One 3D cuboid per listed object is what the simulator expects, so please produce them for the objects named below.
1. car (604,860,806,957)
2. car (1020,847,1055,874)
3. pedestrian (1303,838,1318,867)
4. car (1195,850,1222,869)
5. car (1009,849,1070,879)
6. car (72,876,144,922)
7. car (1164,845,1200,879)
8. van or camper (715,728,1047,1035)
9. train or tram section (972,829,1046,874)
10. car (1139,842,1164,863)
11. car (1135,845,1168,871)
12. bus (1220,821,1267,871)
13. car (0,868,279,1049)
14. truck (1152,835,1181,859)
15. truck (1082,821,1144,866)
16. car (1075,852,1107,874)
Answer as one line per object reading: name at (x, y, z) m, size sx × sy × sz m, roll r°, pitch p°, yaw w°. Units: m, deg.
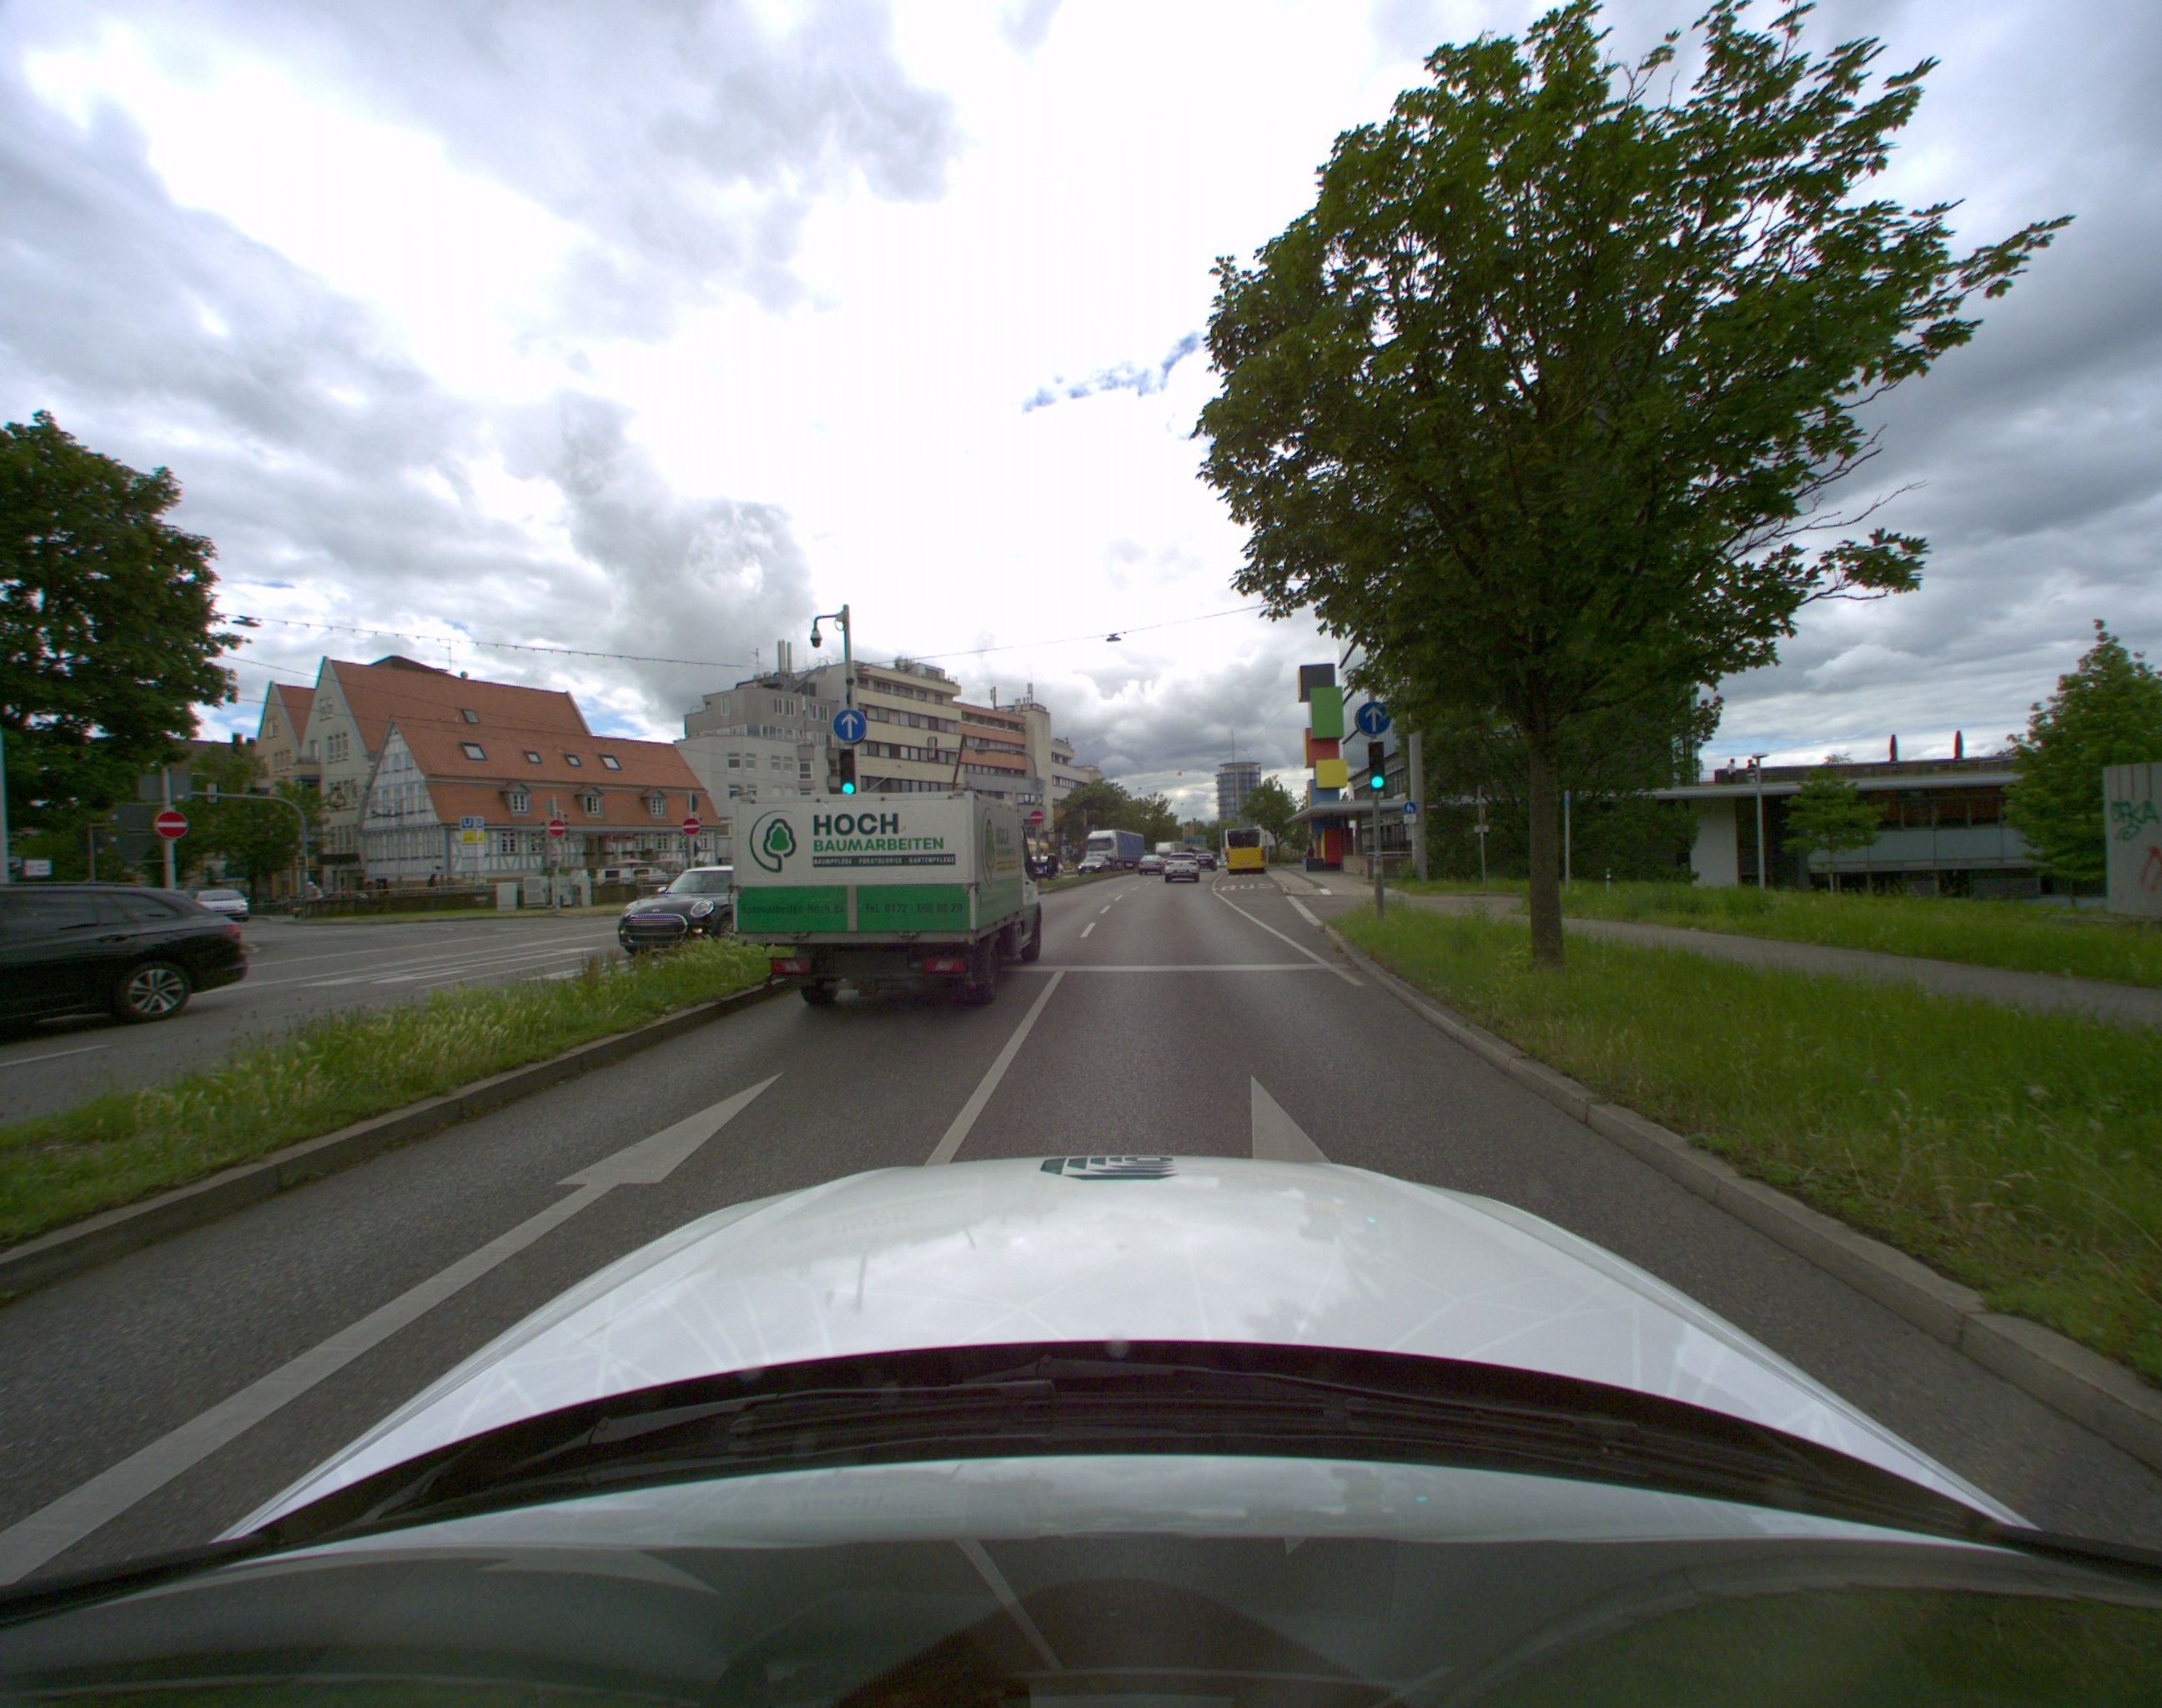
car at (-6.440, 0.866, 14.420) m, size 1.606 × 1.446 × 3.657 m, roll -2°, pitch 0°, yaw 4°
car at (-3.030, 0.425, 57.354) m, size 1.555 × 1.753 × 3.852 m, roll -2°, pitch 0°, yaw 10°
pedestrian at (14.436, -0.088, 51.138) m, size 0.706 × 1.816 × 0.764 m, roll -2°, pitch 0°, yaw 2°
car at (11.194, 0.458, 71.430) m, size 1.685 × 1.515 × 3.512 m, roll -1°, pitch 2°, yaw 20°
car at (-2.183, 0.510, 44.285) m, size 1.952 × 1.498 × 4.793 m, roll -1°, pitch 1°, yaw 14°
car at (-50.977, 2.285, 42.658) m, size 4.350 × 2.062 × 2.261 m, roll 0°, pitch 2°, yaw 39°
car at (5.552, 0.384, 44.357) m, size 1.689 × 1.547 × 3.748 m, roll 2°, pitch 4°, yaw 10°
van or camper at (-1.862, 0.168, 10.057) m, size 2.334 × 2.661 × 5.970 m, roll 0°, pitch 2°, yaw 3°
train or tram section at (-5.983, -0.247, 70.560) m, size 2.542 × 3.410 × 13.125 m, roll -2°, pitch 0°, yaw 12°
car at (7.354, -0.187, 84.244) m, size 1.981 × 2.013 × 5.213 m, roll -2°, pitch 0°, yaw 11°
car at (5.034, 0.275, 57.891) m, size 1.687 × 1.515 × 3.752 m, roll -1°, pitch 4°, yaw 14°
bus at (11.955, -0.604, 59.292) m, size 2.933 × 3.190 × 9.964 m, roll -2°, pitch 0°, yaw 13°
car at (-10.483, 0.992, 7.294) m, size 1.984 × 1.500 × 4.400 m, roll -2°, pitch 1°, yaw 4°
truck at (11.760, -1.002, 111.043) m, size 3.063 × 3.028 × 9.388 m, roll -2°, pitch 0°, yaw 11°
truck at (3.608, -1.075, 83.319) m, size 2.933 × 4.079 × 16.666 m, roll -1°, pitch 1°, yaw 14°
car at (0.737, 0.626, 58.723) m, size 1.689 × 1.516 × 3.504 m, roll -1°, pitch 0°, yaw 10°
